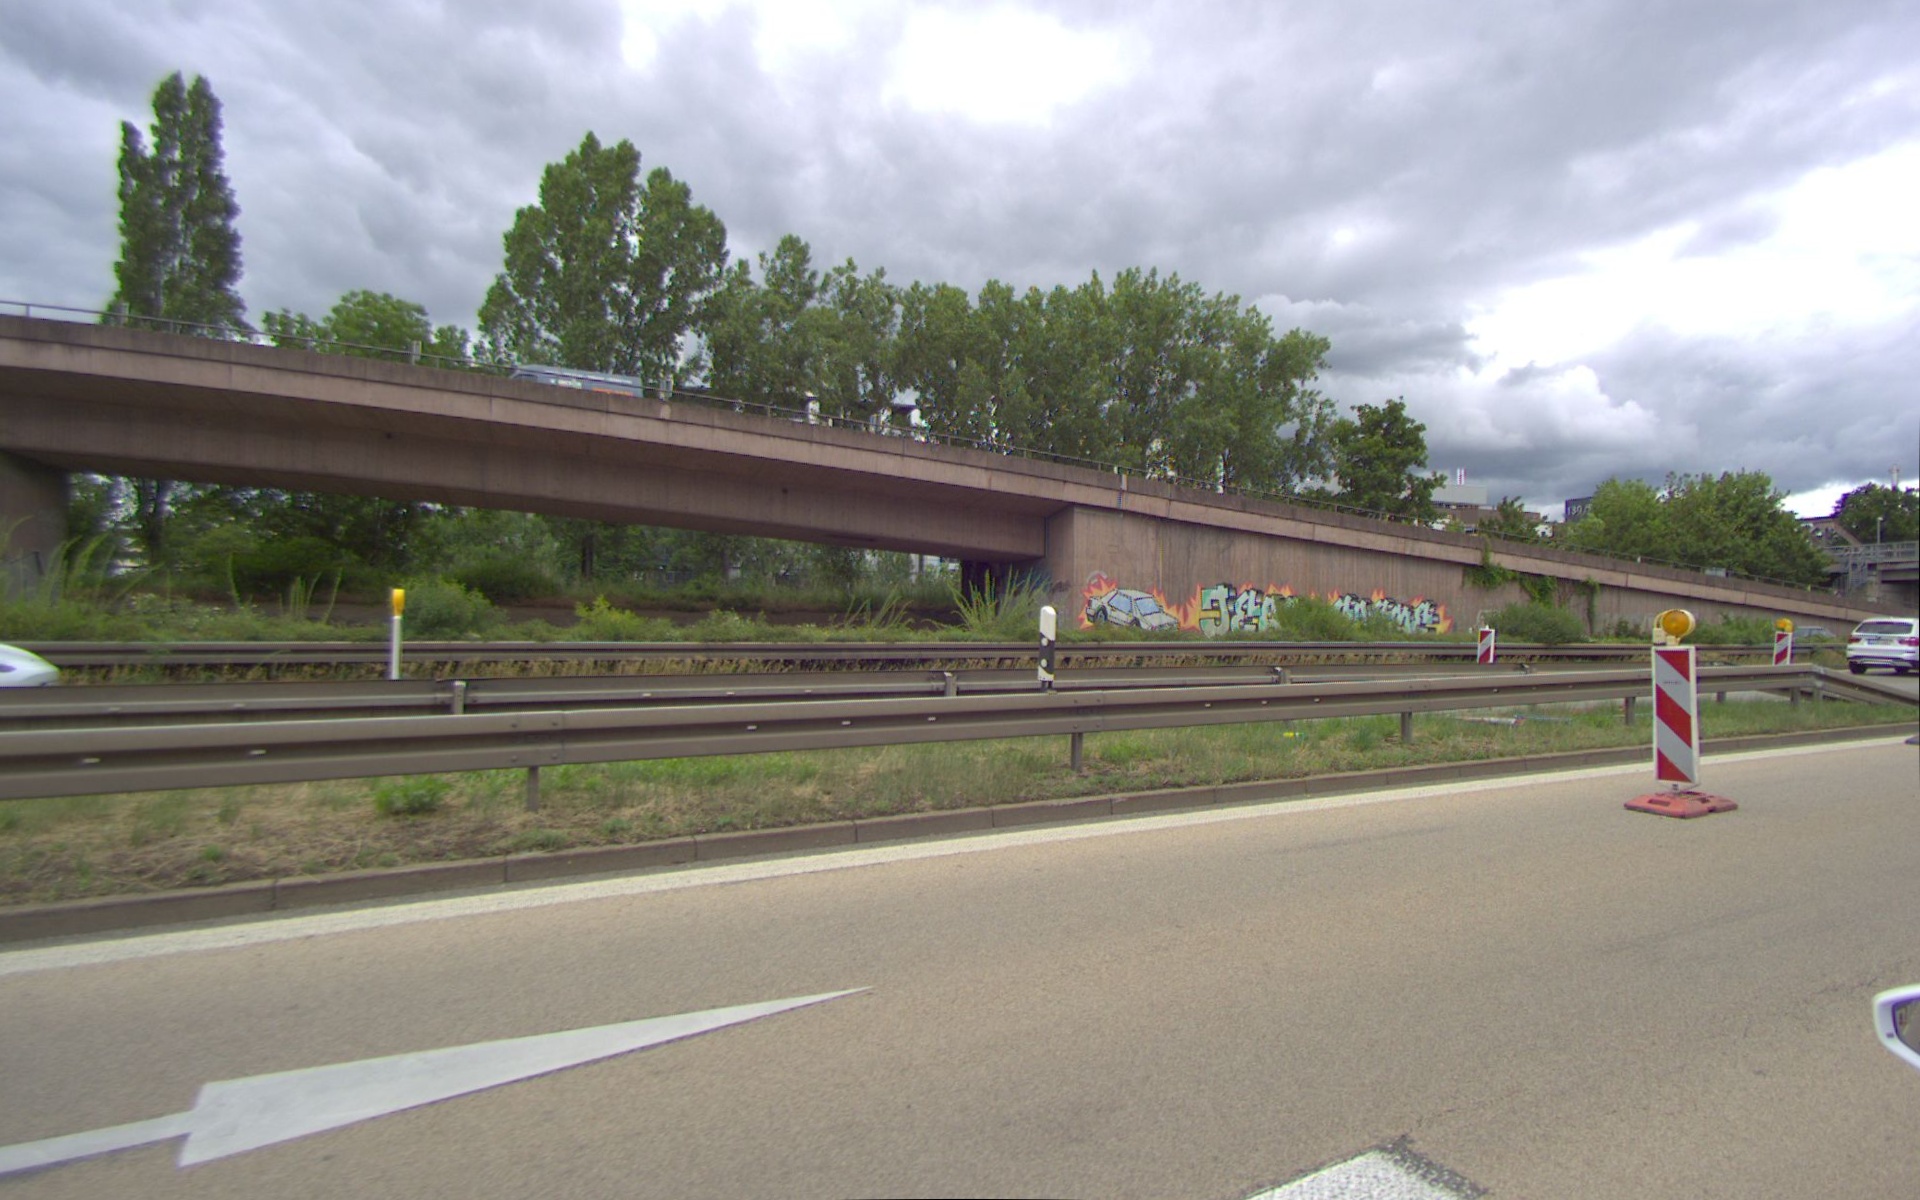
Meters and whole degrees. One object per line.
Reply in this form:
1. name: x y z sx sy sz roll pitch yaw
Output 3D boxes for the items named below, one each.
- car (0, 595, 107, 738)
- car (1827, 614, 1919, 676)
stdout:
1. car: -12.226 0.628 10.398 4.735 1.474 1.988 2 -1 -25
2. car: 27.979 1.327 29.762 4.045 1.735 1.988 2 -1 -25
